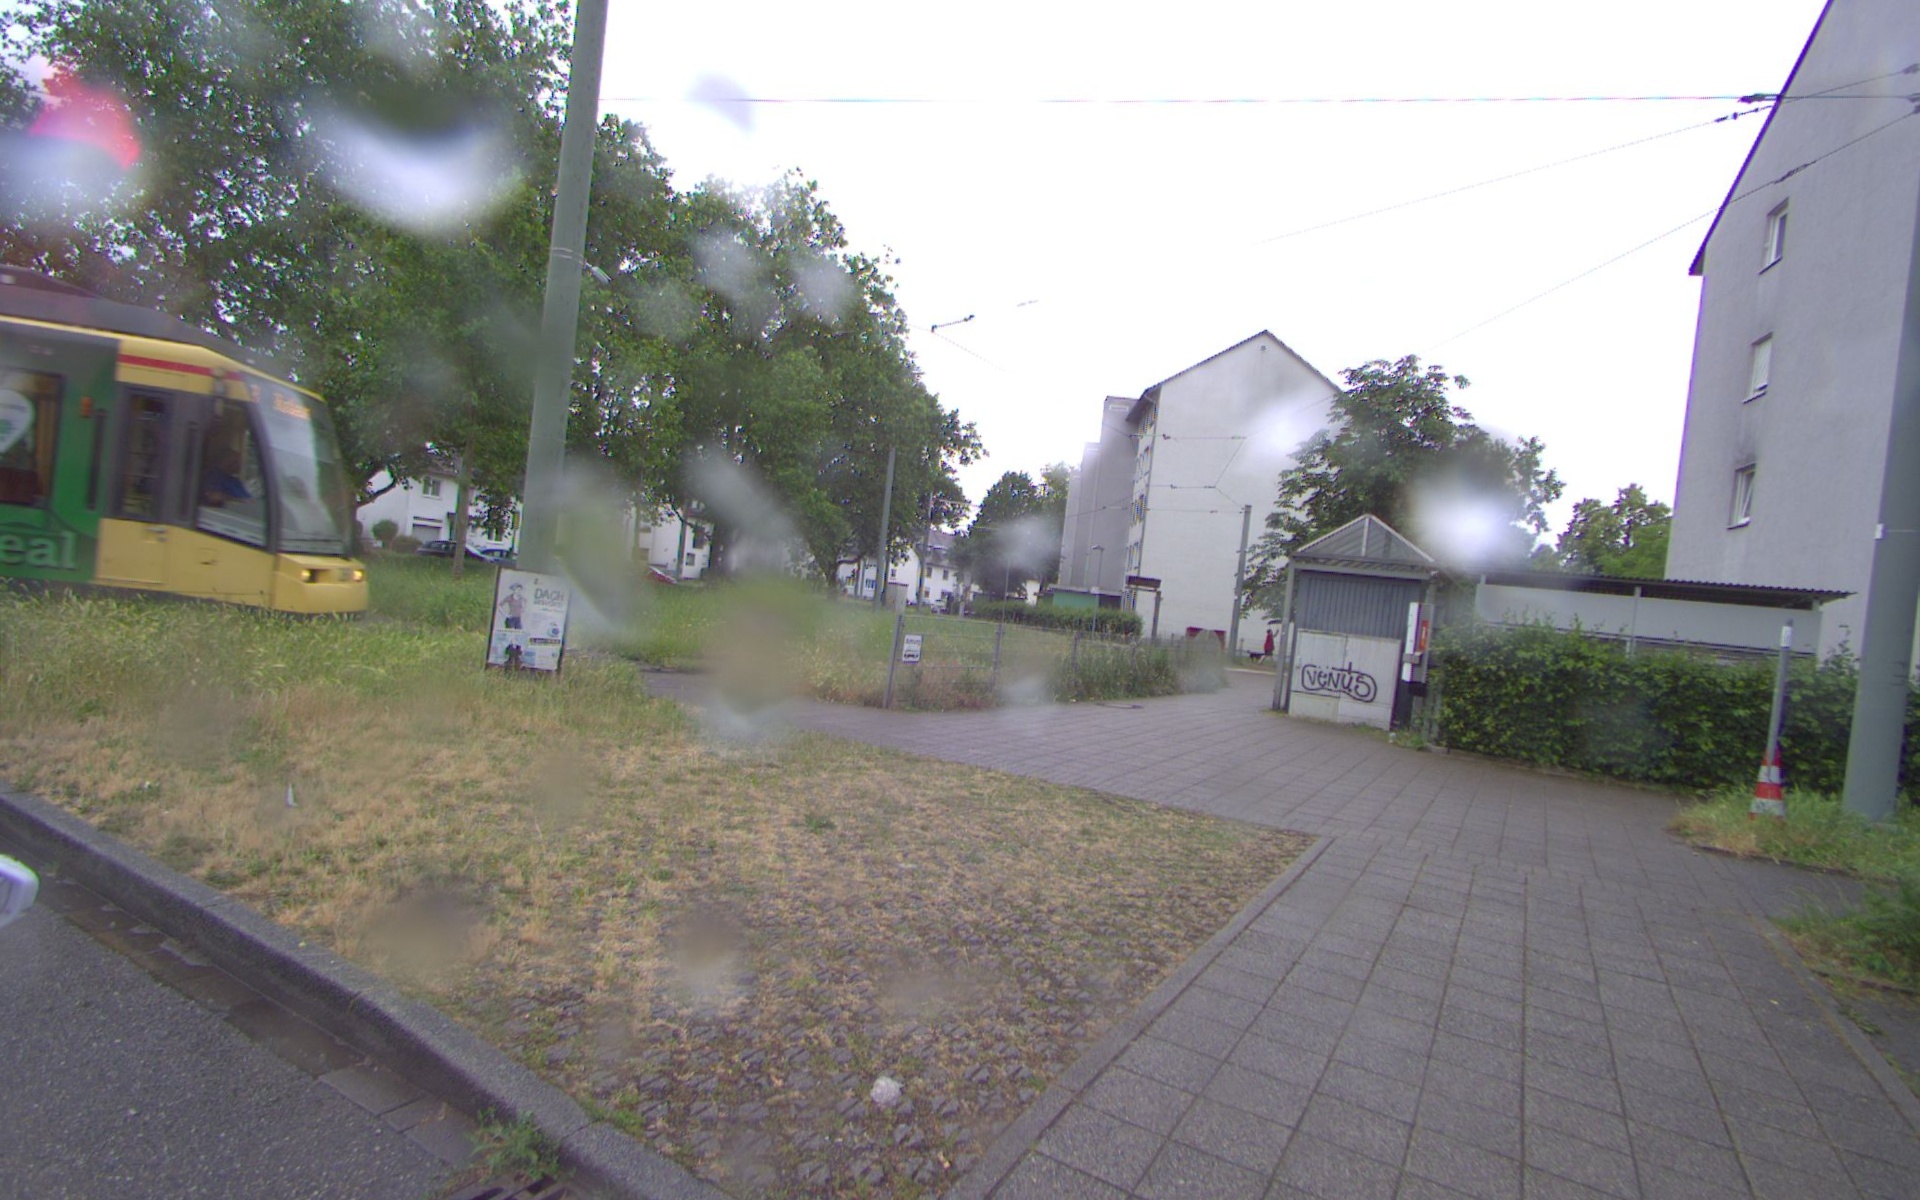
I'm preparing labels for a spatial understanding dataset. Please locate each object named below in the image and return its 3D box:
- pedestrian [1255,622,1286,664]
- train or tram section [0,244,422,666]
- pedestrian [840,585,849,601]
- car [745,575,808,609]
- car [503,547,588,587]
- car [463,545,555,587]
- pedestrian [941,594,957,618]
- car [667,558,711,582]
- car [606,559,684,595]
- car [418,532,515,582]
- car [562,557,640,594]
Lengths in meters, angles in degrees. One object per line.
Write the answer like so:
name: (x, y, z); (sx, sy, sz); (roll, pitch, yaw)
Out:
pedestrian: (13.464, 1.880, 43.586); (0.806, 1.674, 0.889); (6, -1, 41)
train or tram section: (-12.422, -1.856, 9.930); (11.999, 3.597, 2.764); (7, 1, -11)
pedestrian: (-12.618, -0.794, 109.842); (0.537, 1.664, 0.699); (6, -1, 39)
car: (-12.748, -0.546, 70.103); (3.843, 1.785, 1.812); (7, -2, 0)
car: (-21.986, -1.730, 53.500); (3.855, 1.512, 1.806); (8, -2, -15)
car: (-22.818, -1.688, 51.064); (3.855, 1.512, 1.806); (8, -2, -15)
pedestrian: (-0.867, 0.465, 80.355); (1.022, 1.811, 0.818); (7, -1, -3)
car: (-25.714, -2.800, 95.526); (1.859, 1.678, 3.692); (6, -2, 32)
car: (-18.635, -1.335, 59.590); (3.842, 1.513, 1.812); (7, -2, 3)
car: (-23.738, -2.045, 48.531); (3.710, 1.819, 1.806); (8, -2, -15)
car: (-20.118, -1.362, 56.534); (3.855, 1.512, 1.806); (8, -2, -15)
